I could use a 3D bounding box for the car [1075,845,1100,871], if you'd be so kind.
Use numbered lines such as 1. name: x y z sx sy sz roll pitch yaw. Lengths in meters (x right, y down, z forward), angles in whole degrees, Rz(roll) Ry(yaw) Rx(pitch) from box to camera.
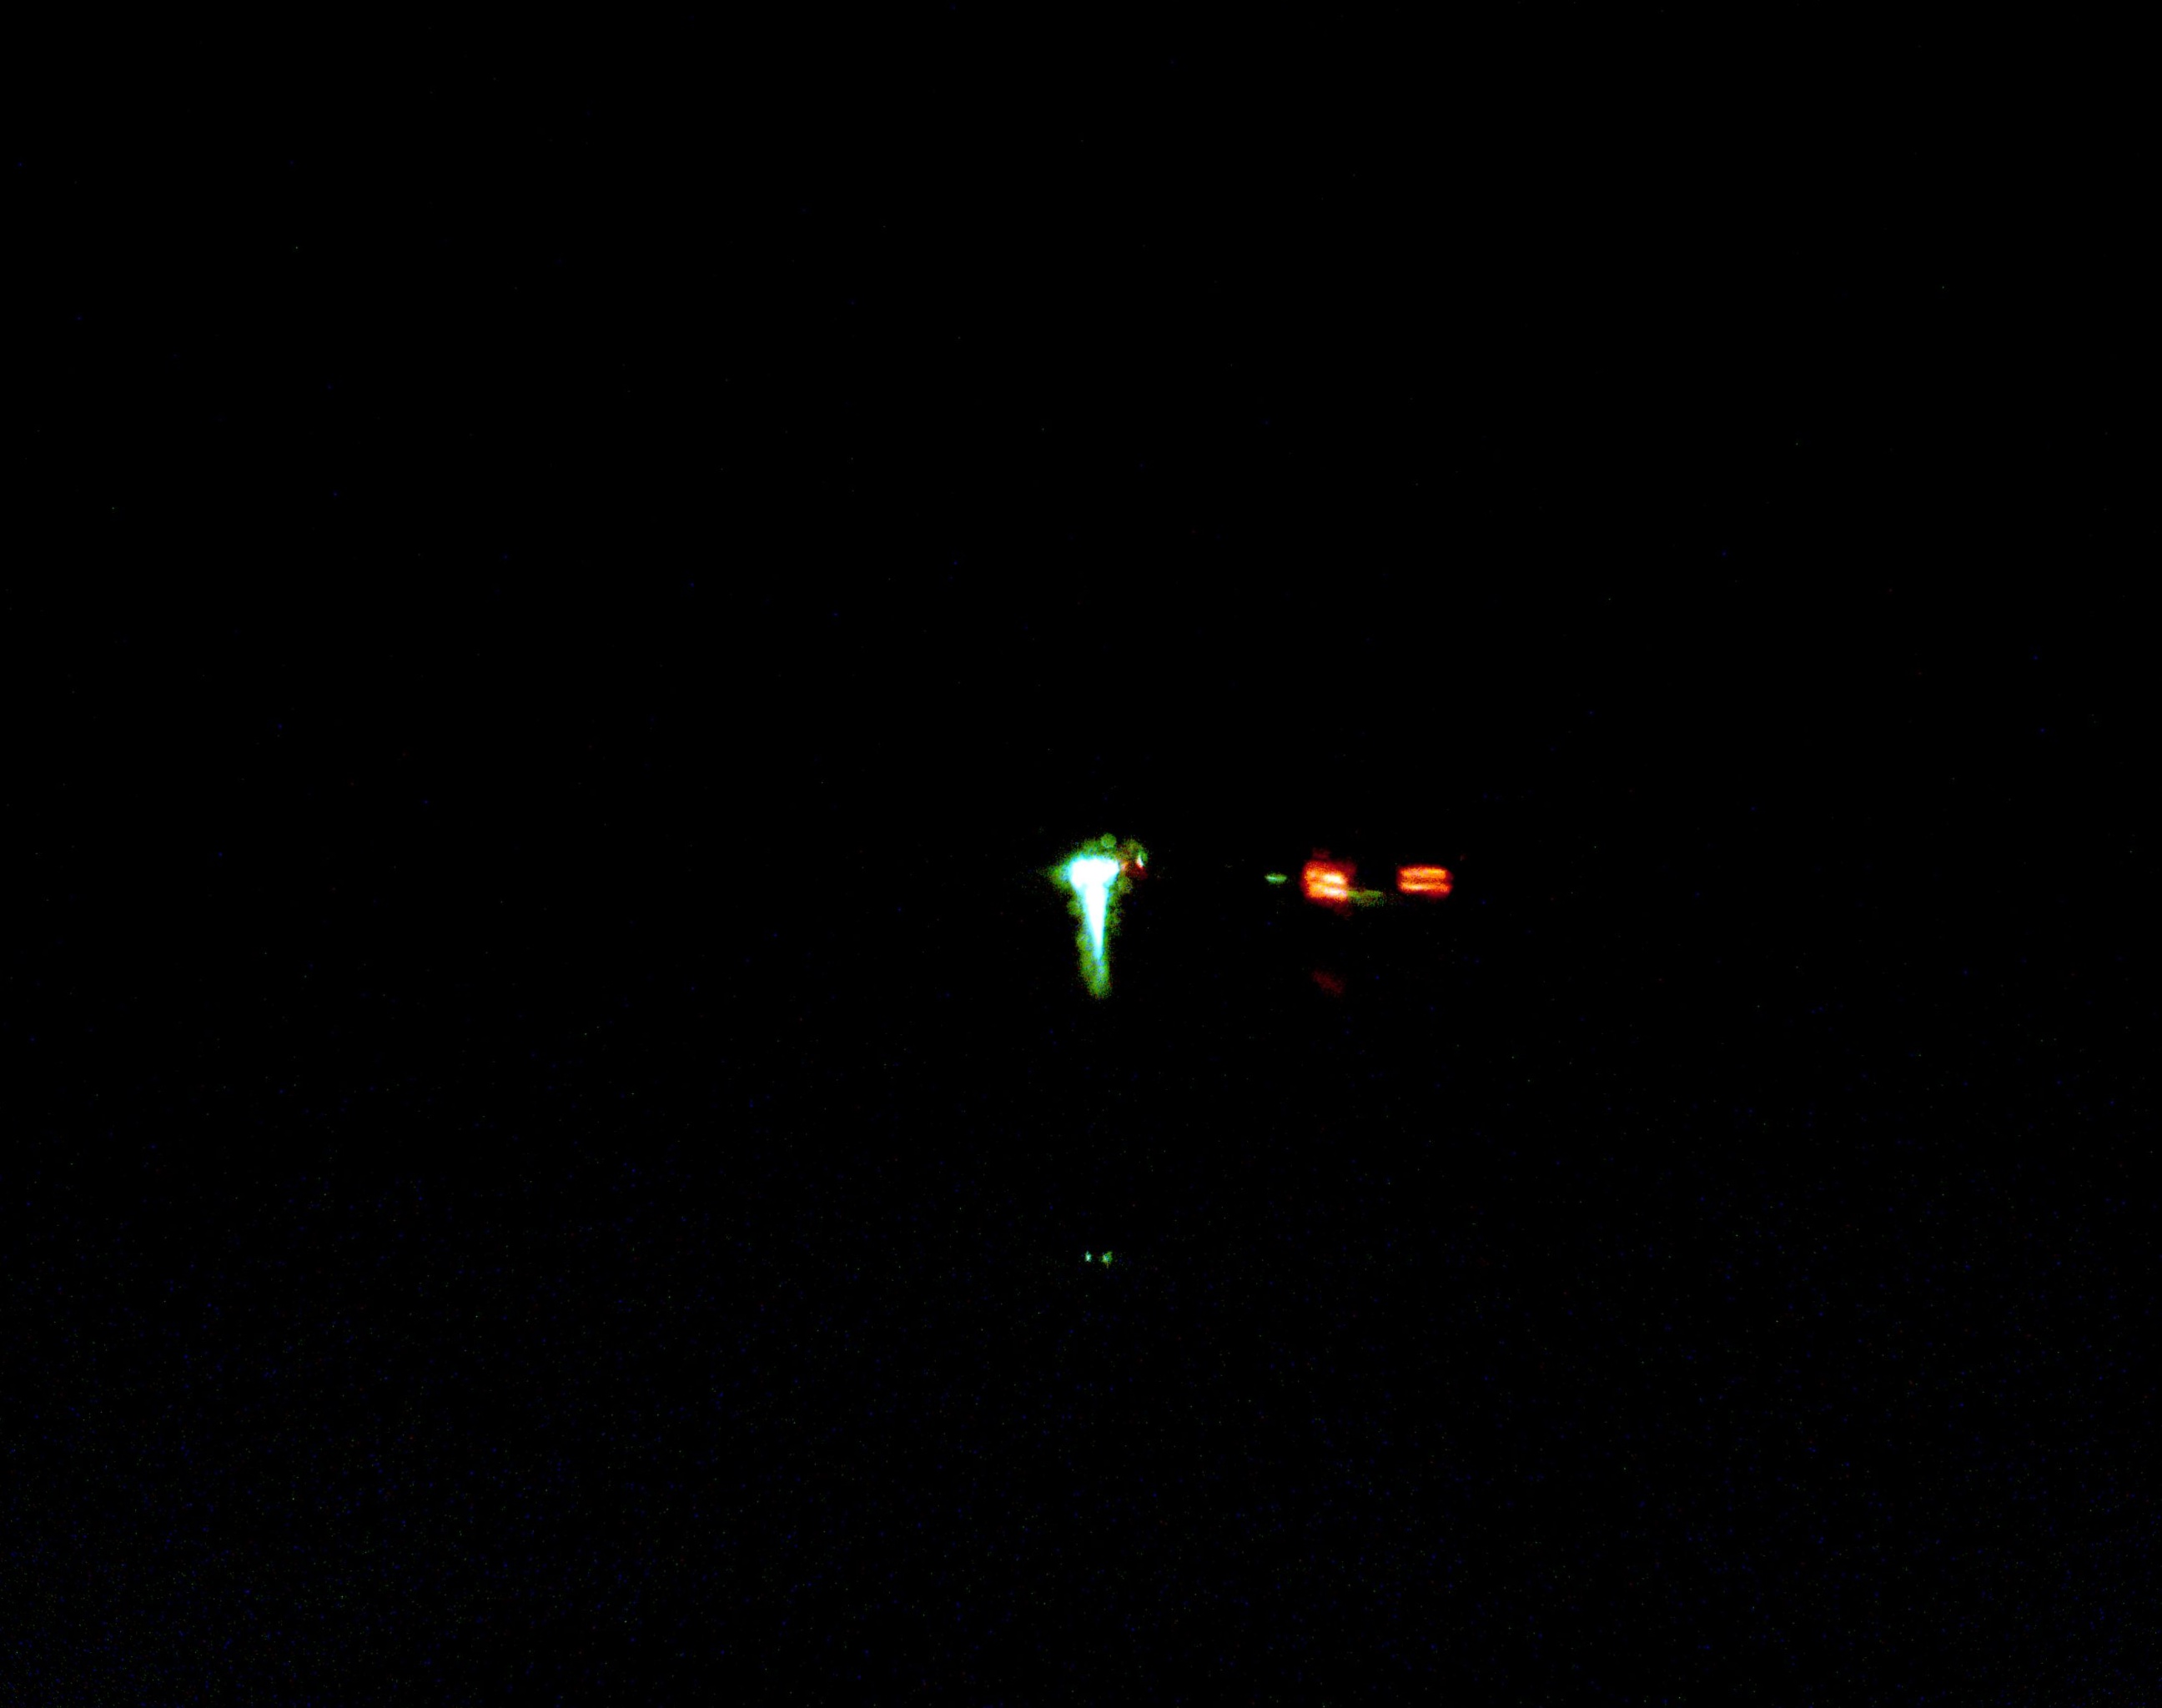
1. car: 0.603 0.308 64.002 1.998 2.002 4.000 -2 1 1

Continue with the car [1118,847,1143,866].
1. car: 4.654 0.206 72.315 2.112 1.702 3.999 -2 1 1

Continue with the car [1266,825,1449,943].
1. car: 5.040 0.461 14.573 1.998 1.849 4.442 -2 1 3
